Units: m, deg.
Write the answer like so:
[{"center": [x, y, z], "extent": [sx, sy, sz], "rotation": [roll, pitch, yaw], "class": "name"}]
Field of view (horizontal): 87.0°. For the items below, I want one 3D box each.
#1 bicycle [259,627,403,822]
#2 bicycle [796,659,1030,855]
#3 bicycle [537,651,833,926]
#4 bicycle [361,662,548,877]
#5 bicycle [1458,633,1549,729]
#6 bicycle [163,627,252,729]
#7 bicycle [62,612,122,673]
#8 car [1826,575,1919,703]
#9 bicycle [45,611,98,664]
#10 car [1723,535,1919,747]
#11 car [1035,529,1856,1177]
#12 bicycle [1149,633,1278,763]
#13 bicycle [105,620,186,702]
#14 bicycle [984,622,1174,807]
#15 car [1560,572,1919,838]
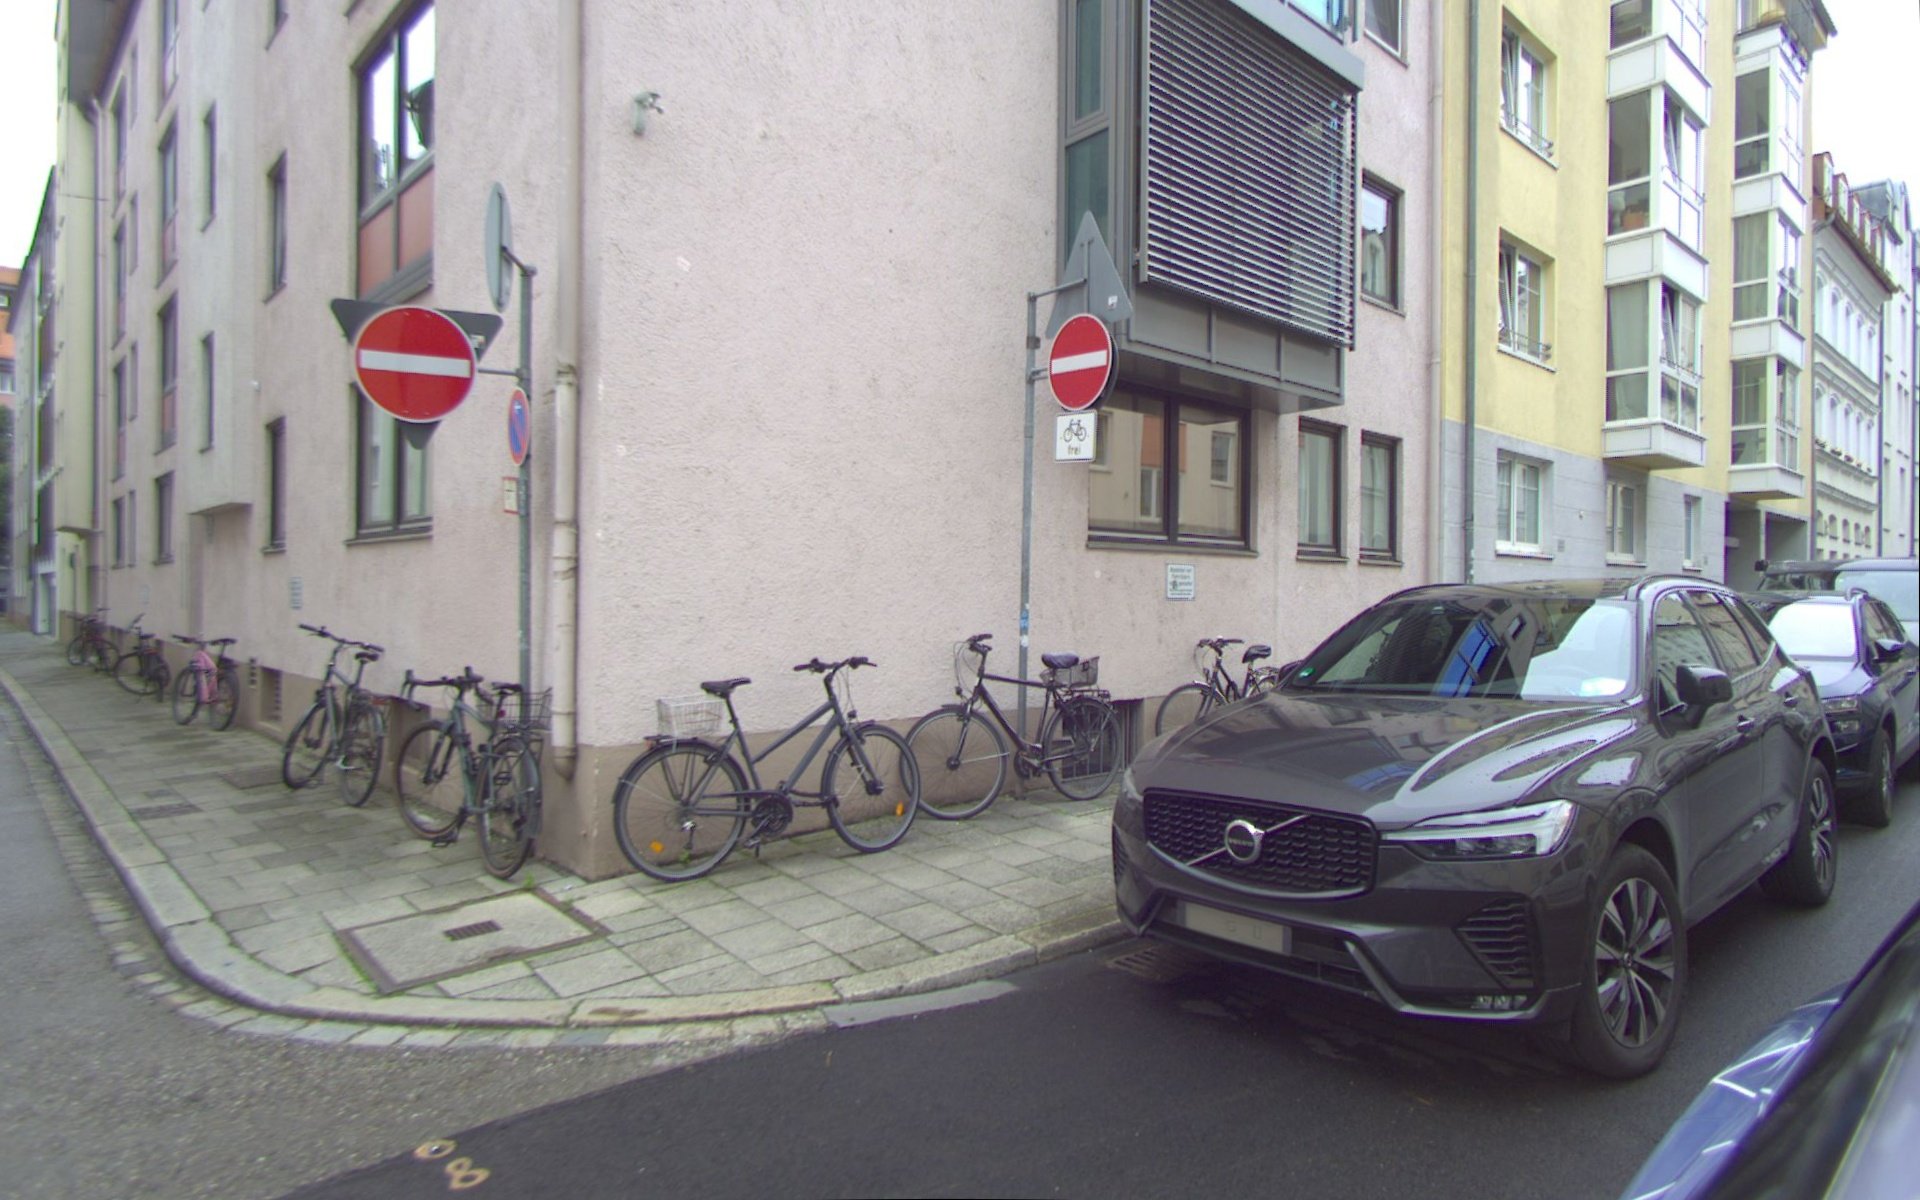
[{"center": [-4.615, 0.828, 7.372], "extent": [0.543, 1.194, 1.733], "rotation": [0, 0, -44], "class": "bicycle"}, {"center": [-0.255, 0.876, 6.032], "extent": [1.333, 0.959, 0.552], "rotation": [0, 0, -40], "class": "bicycle"}, {"center": [-1.358, 0.867, 5.114], "extent": [1.333, 1.140, 0.552], "rotation": [0, 0, -40], "class": "bicycle"}, {"center": [-2.907, 0.887, 5.754], "extent": [0.543, 0.959, 1.449], "rotation": [0, 0, -44], "class": "bicycle"}, {"center": [6.249, 0.901, 11.615], "extent": [1.420, 0.988, 0.422], "rotation": [0, 0, -40], "class": "bicycle"}, {"center": [-8.518, 0.837, 11.430], "extent": [0.601, 1.003, 1.733], "rotation": [0, 0, -44], "class": "bicycle"}, {"center": [-16.220, 0.770, 18.897], "extent": [1.901, 1.036, 0.640], "rotation": [1, 0, 43], "class": "bicycle"}, {"center": [14.432, 0.501, 14.953], "extent": [4.154, 1.707, 1.836], "rotation": [-1, 0, -40], "class": "car"}, {"center": [-18.697, 0.766, 21.285], "extent": [1.901, 1.036, 0.640], "rotation": [1, 0, 43], "class": "bicycle"}, {"center": [10.742, 0.350, 11.847], "extent": [5.018, 2.039, 1.876], "rotation": [-1, 0, -41], "class": "car"}, {"center": [2.533, 0.615, 4.688], "extent": [4.334, 1.642, 1.836], "rotation": [-1, 0, -41], "class": "car"}, {"center": [2.096, 0.769, 8.313], "extent": [1.247, 0.959, 0.358], "rotation": [0, 0, -40], "class": "bicycle"}, {"center": [-11.672, 0.836, 14.486], "extent": [1.901, 1.036, 0.640], "rotation": [1, 0, 43], "class": "bicycle"}, {"center": [0.857, 0.735, 6.995], "extent": [1.515, 1.136, 0.358], "rotation": [0, 0, -40], "class": "bicycle"}, {"center": [6.740, 0.631, 8.347], "extent": [4.248, 1.642, 1.835], "rotation": [-1, 0, -41], "class": "car"}]
